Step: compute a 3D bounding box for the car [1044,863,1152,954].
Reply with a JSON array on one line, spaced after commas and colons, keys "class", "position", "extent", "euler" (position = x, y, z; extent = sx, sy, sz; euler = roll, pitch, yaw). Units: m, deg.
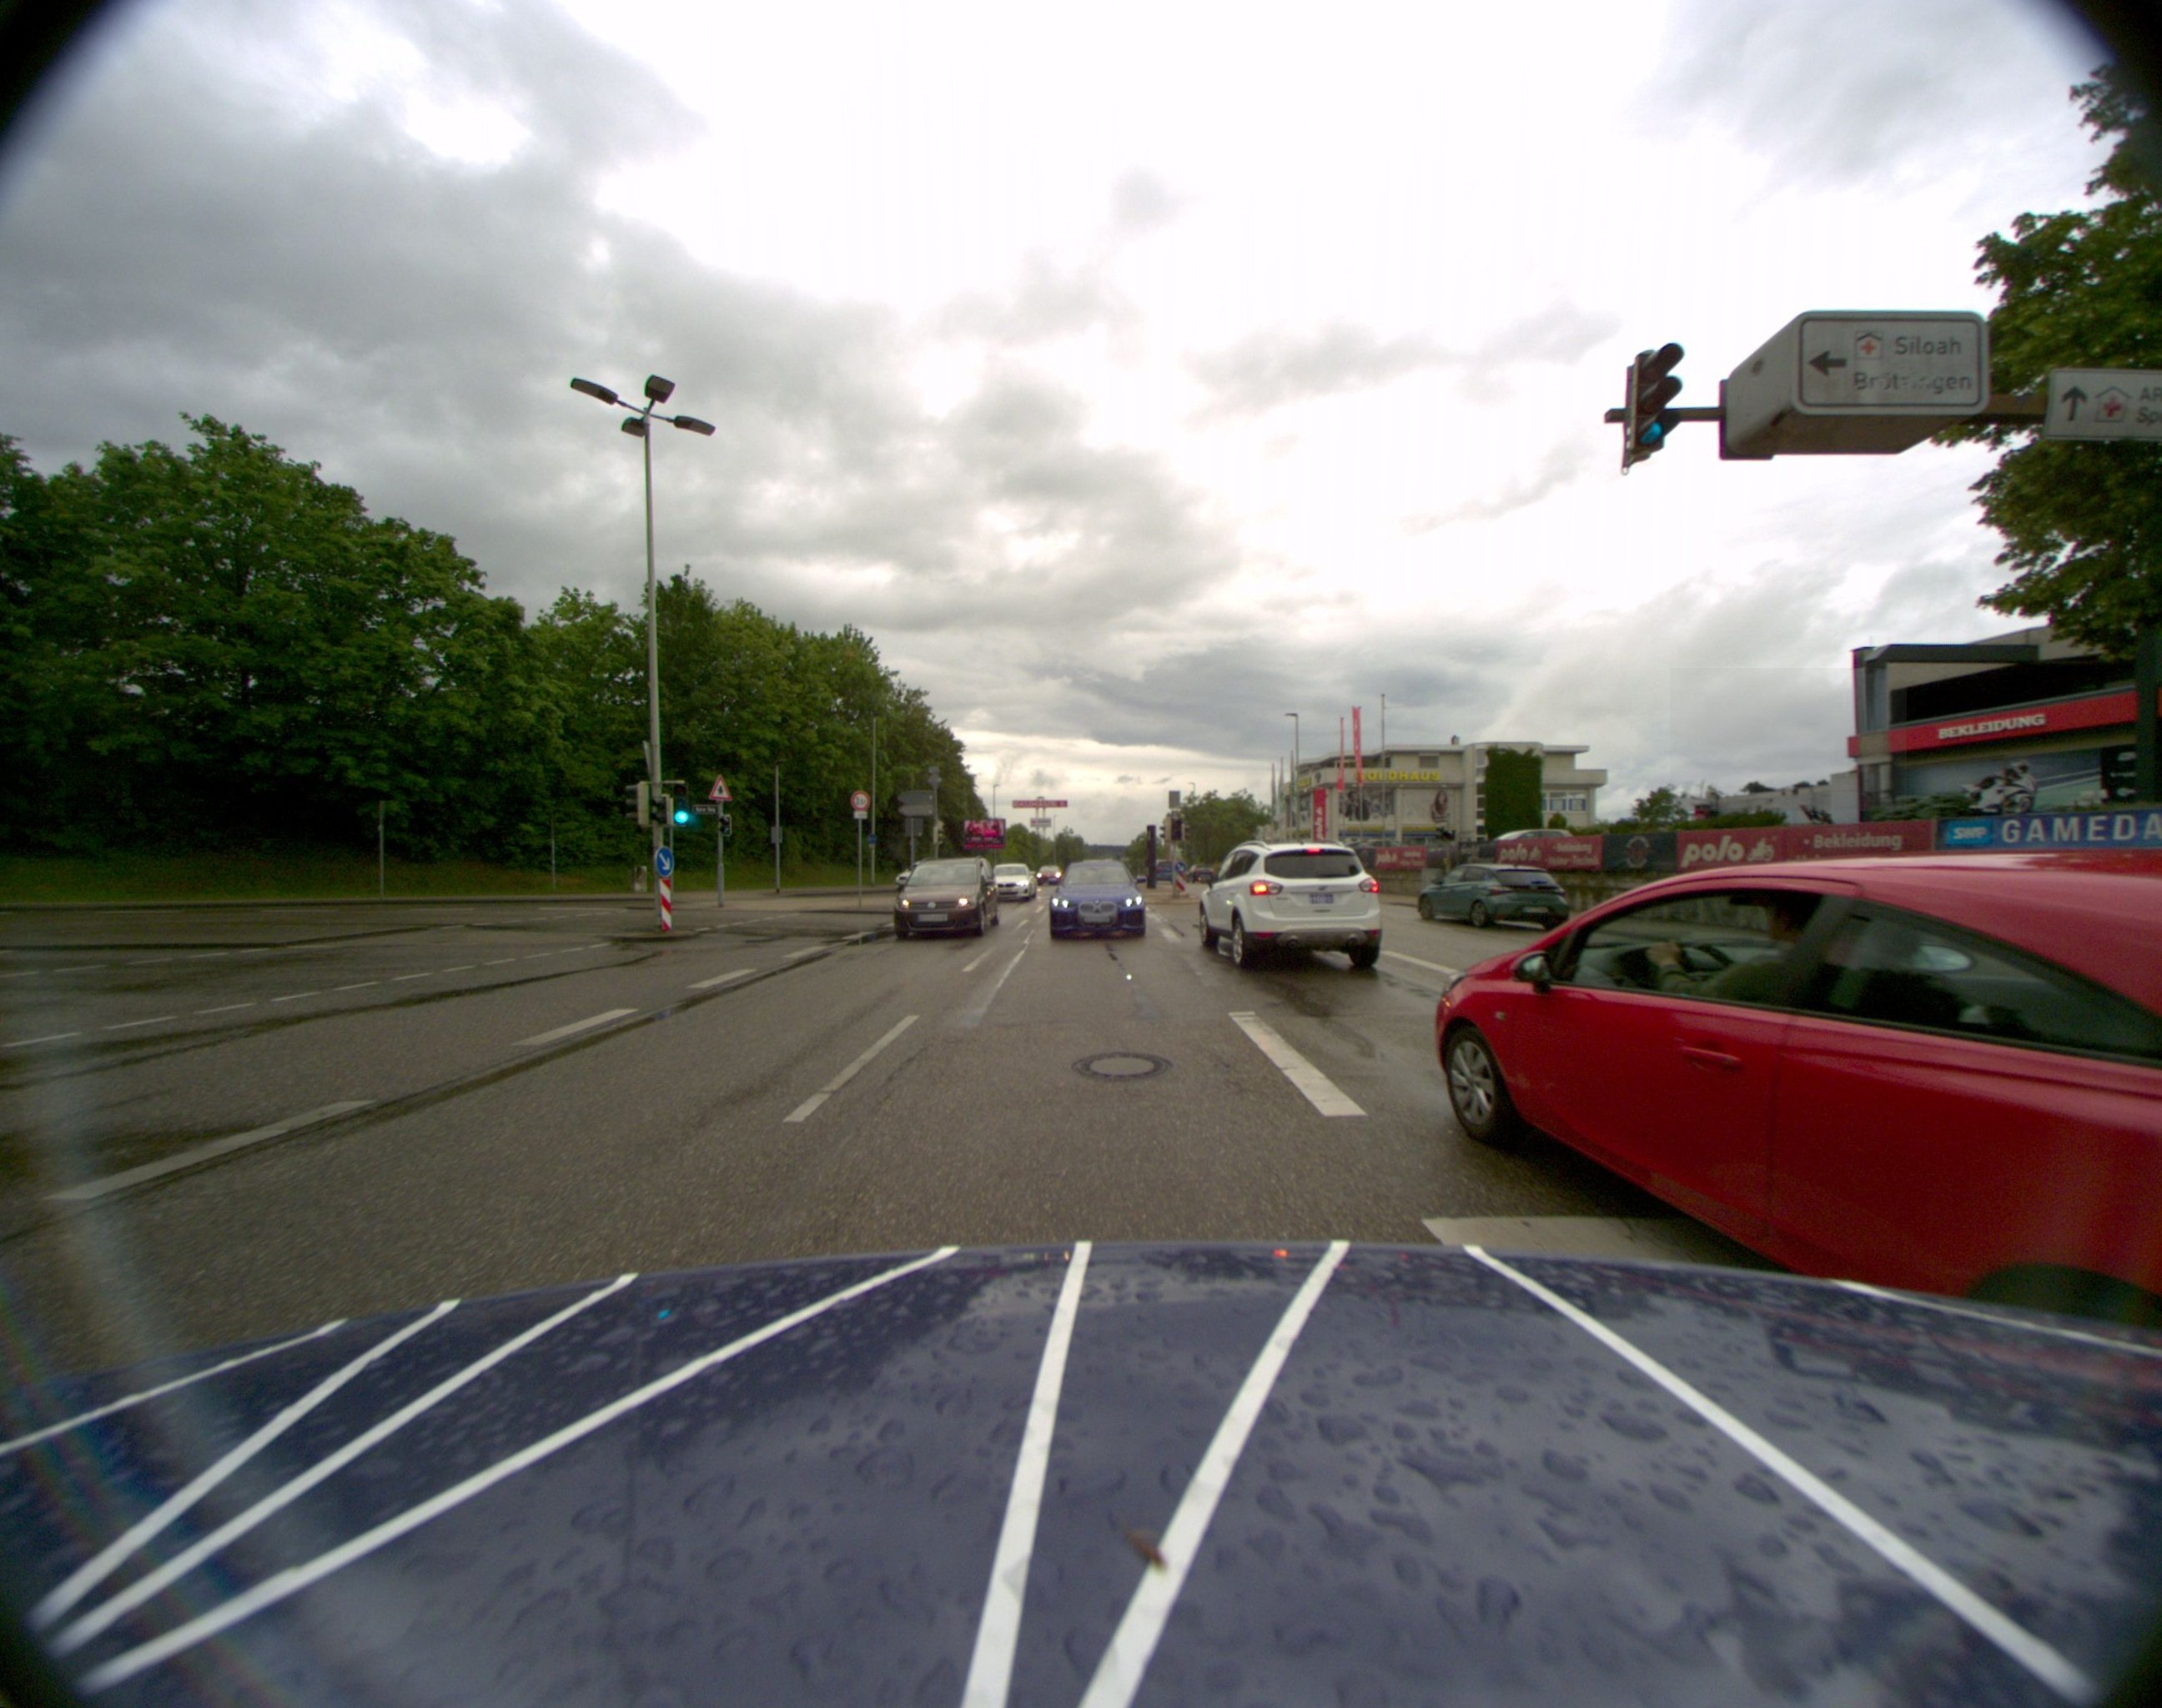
[{"class": "car", "position": [0.275, 0.953, 15.125], "extent": [1.784, 1.448, 4.597], "euler": [-1, 0, 0]}]

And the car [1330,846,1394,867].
[{"class": "car", "position": [17.162, 0.160, 46.496], "extent": [3.395, 1.270, 1.454], "euler": [0, -1, -1]}]

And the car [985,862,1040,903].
[{"class": "car", "position": [-2.677, 1.069, 30.611], "extent": [1.784, 1.448, 4.679], "euler": [-1, 0, 0]}]

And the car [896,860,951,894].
[{"class": "car", "position": [-8.437, 1.198, 41.023], "extent": [1.998, 1.717, 4.317], "euler": [0, -1, 1]}]

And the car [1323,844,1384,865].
[{"class": "car", "position": [17.508, 0.046, 48.900], "extent": [3.394, 1.329, 1.454], "euler": [0, -1, 2]}]

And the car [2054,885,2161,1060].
[{"class": "car", "position": [9.120, 0.915, 4.515], "extent": [1.626, 1.324, 3.946], "euler": [1, 0, 0]}]

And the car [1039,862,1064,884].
[{"class": "car", "position": [-2.102, 1.311, 54.259], "extent": [1.634, 1.448, 3.538], "euler": [-1, 0, 0]}]

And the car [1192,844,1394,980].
[{"class": "car", "position": [2.888, 0.721, 11.375], "extent": [1.844, 1.640, 4.297], "euler": [0, 0, 0]}]

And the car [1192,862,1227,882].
[{"class": "car", "position": [9.454, 1.282, 56.039], "extent": [1.922, 1.371, 4.126], "euler": [1, 0, 1]}]

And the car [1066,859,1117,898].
[{"class": "car", "position": [0.476, 0.978, 32.094], "extent": [1.998, 1.455, 4.368], "euler": [-2, 0, 2]}]

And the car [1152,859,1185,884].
[{"class": "car", "position": [6.101, 1.209, 53.287], "extent": [1.844, 1.640, 4.297], "euler": [1, 0, 0]}]

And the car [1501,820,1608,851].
[{"class": "car", "position": [18.745, -0.733, 30.155], "extent": [3.395, 1.160, 1.454], "euler": [0, -1, -1]}]

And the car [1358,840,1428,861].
[{"class": "car", "position": [17.743, -0.178, 43.289], "extent": [3.395, 1.160, 1.454], "euler": [0, -1, -1]}]

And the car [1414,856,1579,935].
[{"class": "car", "position": [9.474, 0.888, 17.721], "extent": [1.680, 1.608, 4.001], "euler": [1, -1, 1]}]

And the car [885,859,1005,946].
[{"class": "car", "position": [-2.786, 0.942, 16.428], "extent": [1.751, 1.599, 3.981], "euler": [-1, 0, 1]}]

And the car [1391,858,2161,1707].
[{"class": "car", "position": [2.725, 0.780, 2.623], "extent": [1.636, 1.426, 4.143], "euler": [0, 1, 0]}]
